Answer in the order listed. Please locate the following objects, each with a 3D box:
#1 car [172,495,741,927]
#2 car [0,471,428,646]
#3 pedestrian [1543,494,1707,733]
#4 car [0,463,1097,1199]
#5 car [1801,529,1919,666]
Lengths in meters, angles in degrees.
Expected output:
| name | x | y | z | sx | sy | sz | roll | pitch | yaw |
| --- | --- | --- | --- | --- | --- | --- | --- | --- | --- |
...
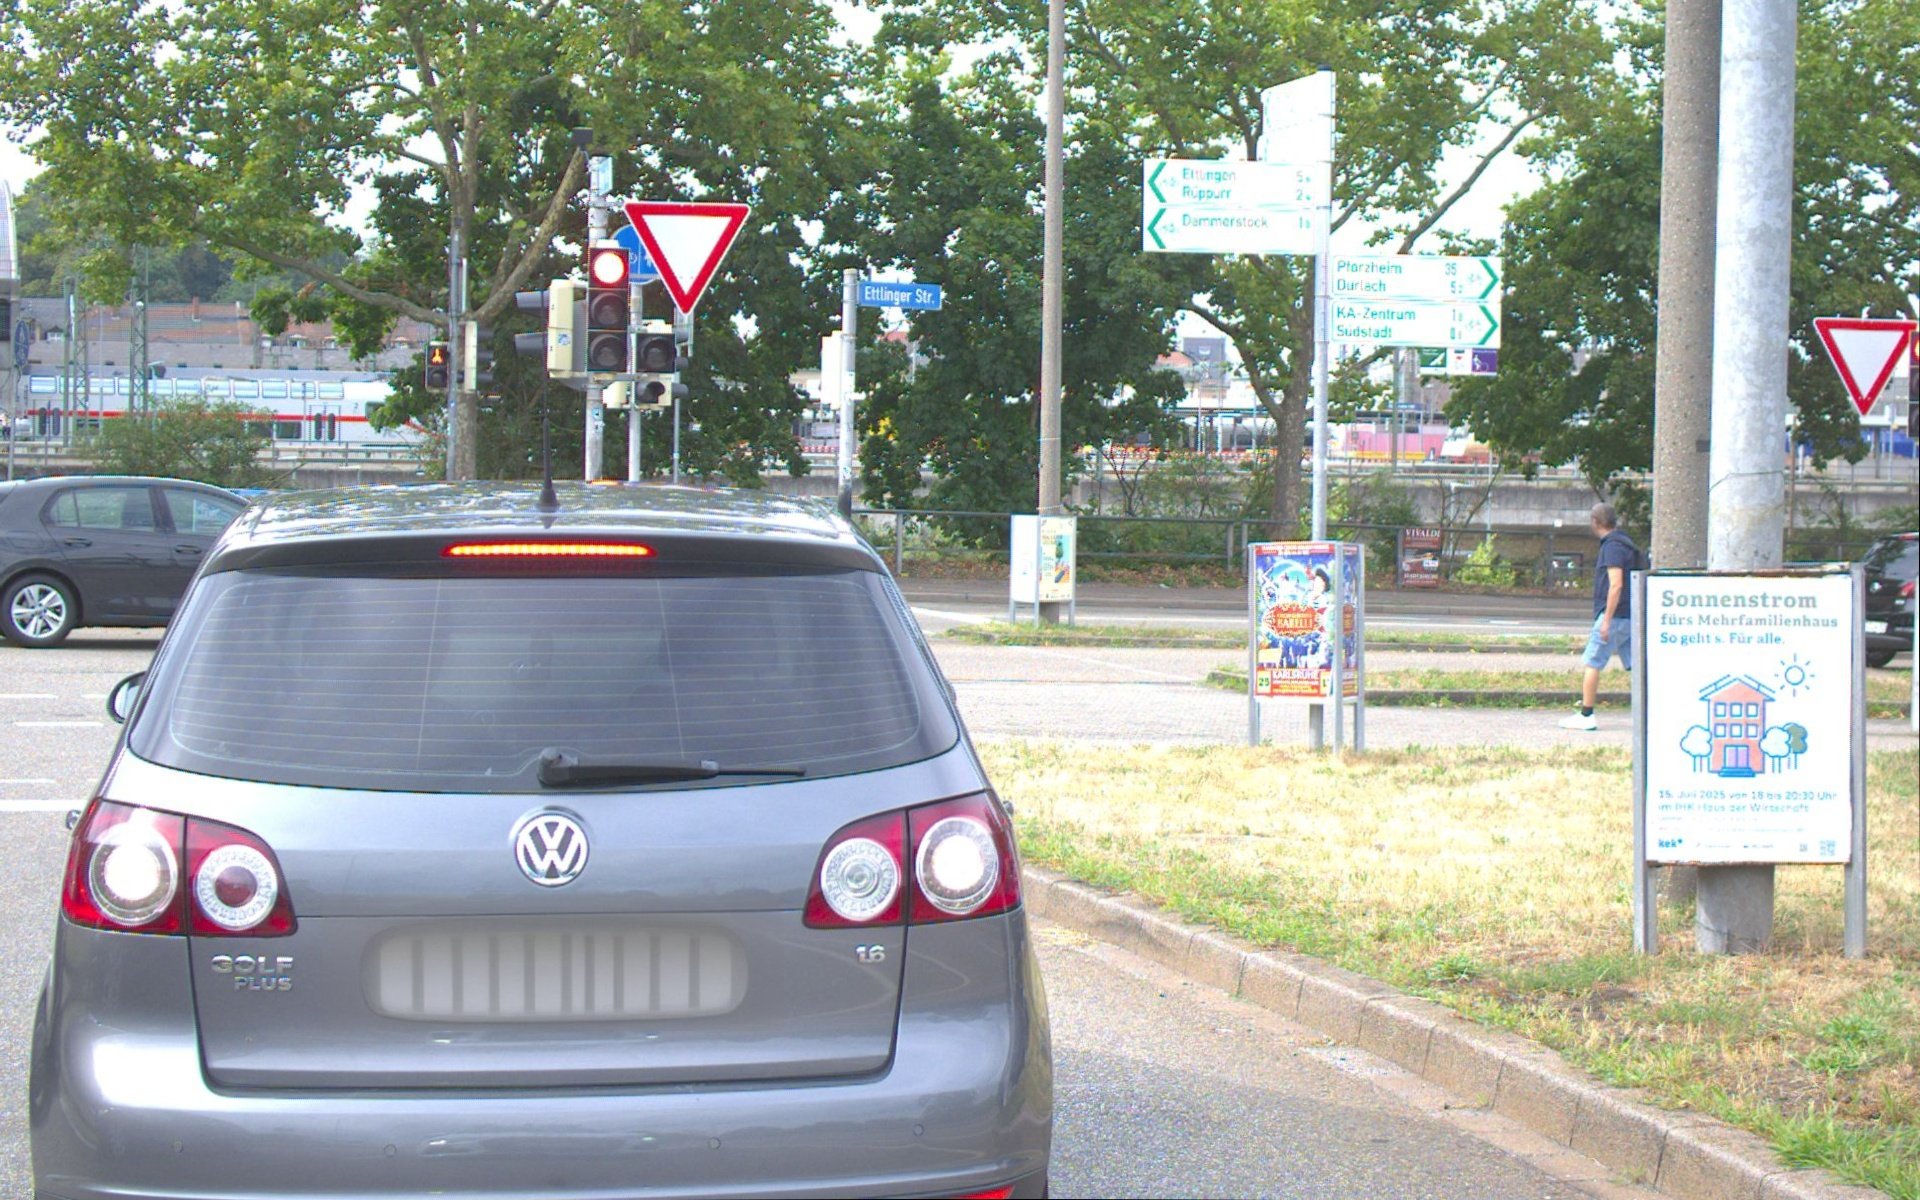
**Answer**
| name | x | y | z | sx | sy | sz | roll | pitch | yaw |
| --- | --- | --- | --- | --- | --- | --- | --- | --- | --- |
| car | -2.185 | 0.331 | 13.948 | 1.740 | 1.477 | 4.083 | 0 | 1 | -16 |
| car | -6.786 | -0.365 | 29.757 | 4.056 | 1.445 | 1.703 | 0 | 2 | -19 |
| pedestrian | 4.933 | 0.086 | 25.477 | 1.048 | 1.704 | 0.853 | 2 | 2 | 17 |
| car | -0.954 | 0.524 | 7.232 | 1.740 | 1.541 | 4.083 | 1 | 1 | -8 |
| car | 11.098 | -0.037 | 36.357 | 4.056 | 1.363 | 1.703 | 0 | 2 | -23 |
